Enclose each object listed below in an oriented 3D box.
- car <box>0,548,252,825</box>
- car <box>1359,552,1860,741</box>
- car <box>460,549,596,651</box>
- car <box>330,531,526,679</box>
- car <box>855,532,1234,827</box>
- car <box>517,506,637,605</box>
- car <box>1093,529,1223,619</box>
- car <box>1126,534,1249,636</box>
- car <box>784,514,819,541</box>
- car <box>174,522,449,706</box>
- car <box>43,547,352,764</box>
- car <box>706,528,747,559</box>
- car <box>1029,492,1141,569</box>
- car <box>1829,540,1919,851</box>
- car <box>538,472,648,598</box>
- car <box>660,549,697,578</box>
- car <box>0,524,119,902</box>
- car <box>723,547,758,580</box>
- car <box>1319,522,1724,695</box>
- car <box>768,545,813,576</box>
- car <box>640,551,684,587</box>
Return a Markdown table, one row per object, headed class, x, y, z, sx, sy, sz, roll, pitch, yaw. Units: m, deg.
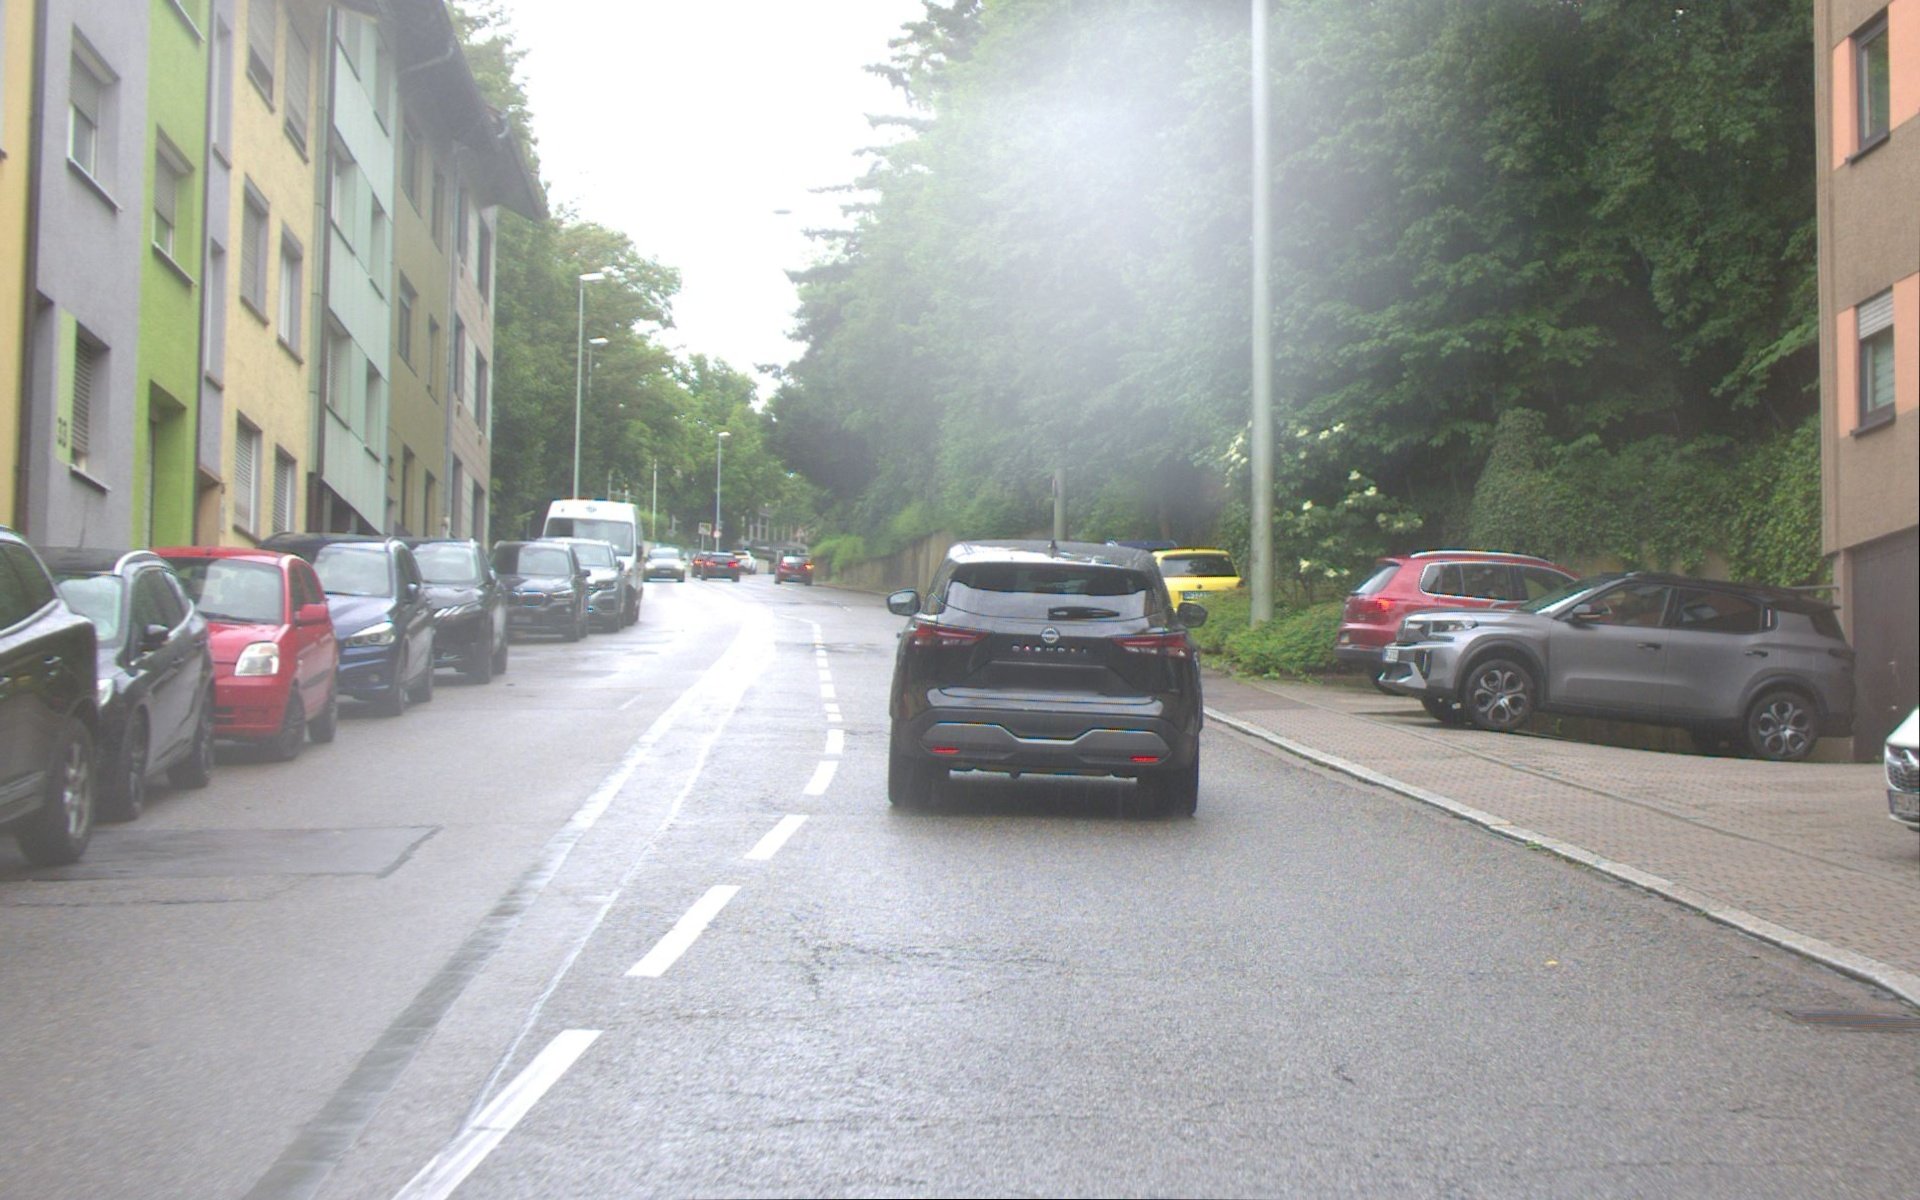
| class | x | y | z | sx | sy | sz | roll | pitch | yaw |
| --- | --- | --- | --- | --- | --- | --- | --- | --- | --- |
| car | -5.607 | 0.440 | 20.872 | 1.993 | 1.467 | 4.349 | 0 | 1 | -4 |
| car | 6.003 | 0.415 | 32.040 | 4.197 | 1.491 | 1.760 | 3 | 1 | -5 |
| car | -7.112 | -0.036 | 56.970 | 1.990 | 1.579 | 4.306 | 0 | 1 | -4 |
| car | -6.022 | 0.008 | 39.309 | 1.853 | 1.579 | 4.306 | 0 | 1 | -4 |
| car | 0.410 | 0.408 | 21.170 | 1.993 | 1.554 | 4.001 | 2 | 1 | -3 |
| car | -7.025 | -0.846 | 63.405 | 1.990 | 1.749 | 4.481 | 0 | 1 | -4 |
| car | 3.537 | -0.482 | 62.177 | 1.810 | 1.525 | 4.418 | -2 | 1 | -3 |
| car | 3.619 | -0.264 | 55.205 | 1.633 | 1.525 | 4.000 | 2 | 1 | 0 |
| car | -9.886 | -4.519 | 214.802 | 1.993 | 1.554 | 4.000 | 0 | -1 | -1 |
| car | -5.949 | 0.074 | 32.020 | 1.993 | 1.579 | 4.472 | 0 | 1 | -4 |
| car | -5.570 | 0.355 | 25.483 | 1.728 | 1.467 | 3.492 | 0 | 1 | -4 |
| car | -12.011 | -2.903 | 176.533 | 2.074 | 1.554 | 4.001 | 1 | 1 | -4 |
| car | 2.611 | -1.461 | 72.724 | 1.810 | 1.525 | 4.418 | -2 | 1 | -5 |
| car | 6.699 | 0.327 | 17.502 | 3.961 | 1.524 | 1.693 | -5 | 1 | -6 |
| car | -7.441 | -1.339 | 70.130 | 1.990 | 2.466 | 5.785 | 0 | 1 | -4 |
| car | -16.239 | -2.119 | 198.457 | 2.074 | 1.554 | 4.001 | 1 | 1 | -4 |
| car | -5.179 | 0.492 | 14.940 | 1.993 | 1.644 | 4.442 | 0 | 1 | 0 |
| car | -14.452 | -2.410 | 226.732 | 1.993 | 2.007 | 4.000 | 2 | -1 | 0 |
| car | 6.429 | 0.083 | 39.629 | 4.197 | 1.728 | 1.760 | 3 | 1 | -6 |
| car | -8.725 | -2.047 | 176.739 | 2.074 | 1.554 | 4.001 | 1 | 1 | -6 |
| car | -14.181 | -1.482 | 163.874 | 1.993 | 1.554 | 4.001 | 2 | 1 | -5 |
